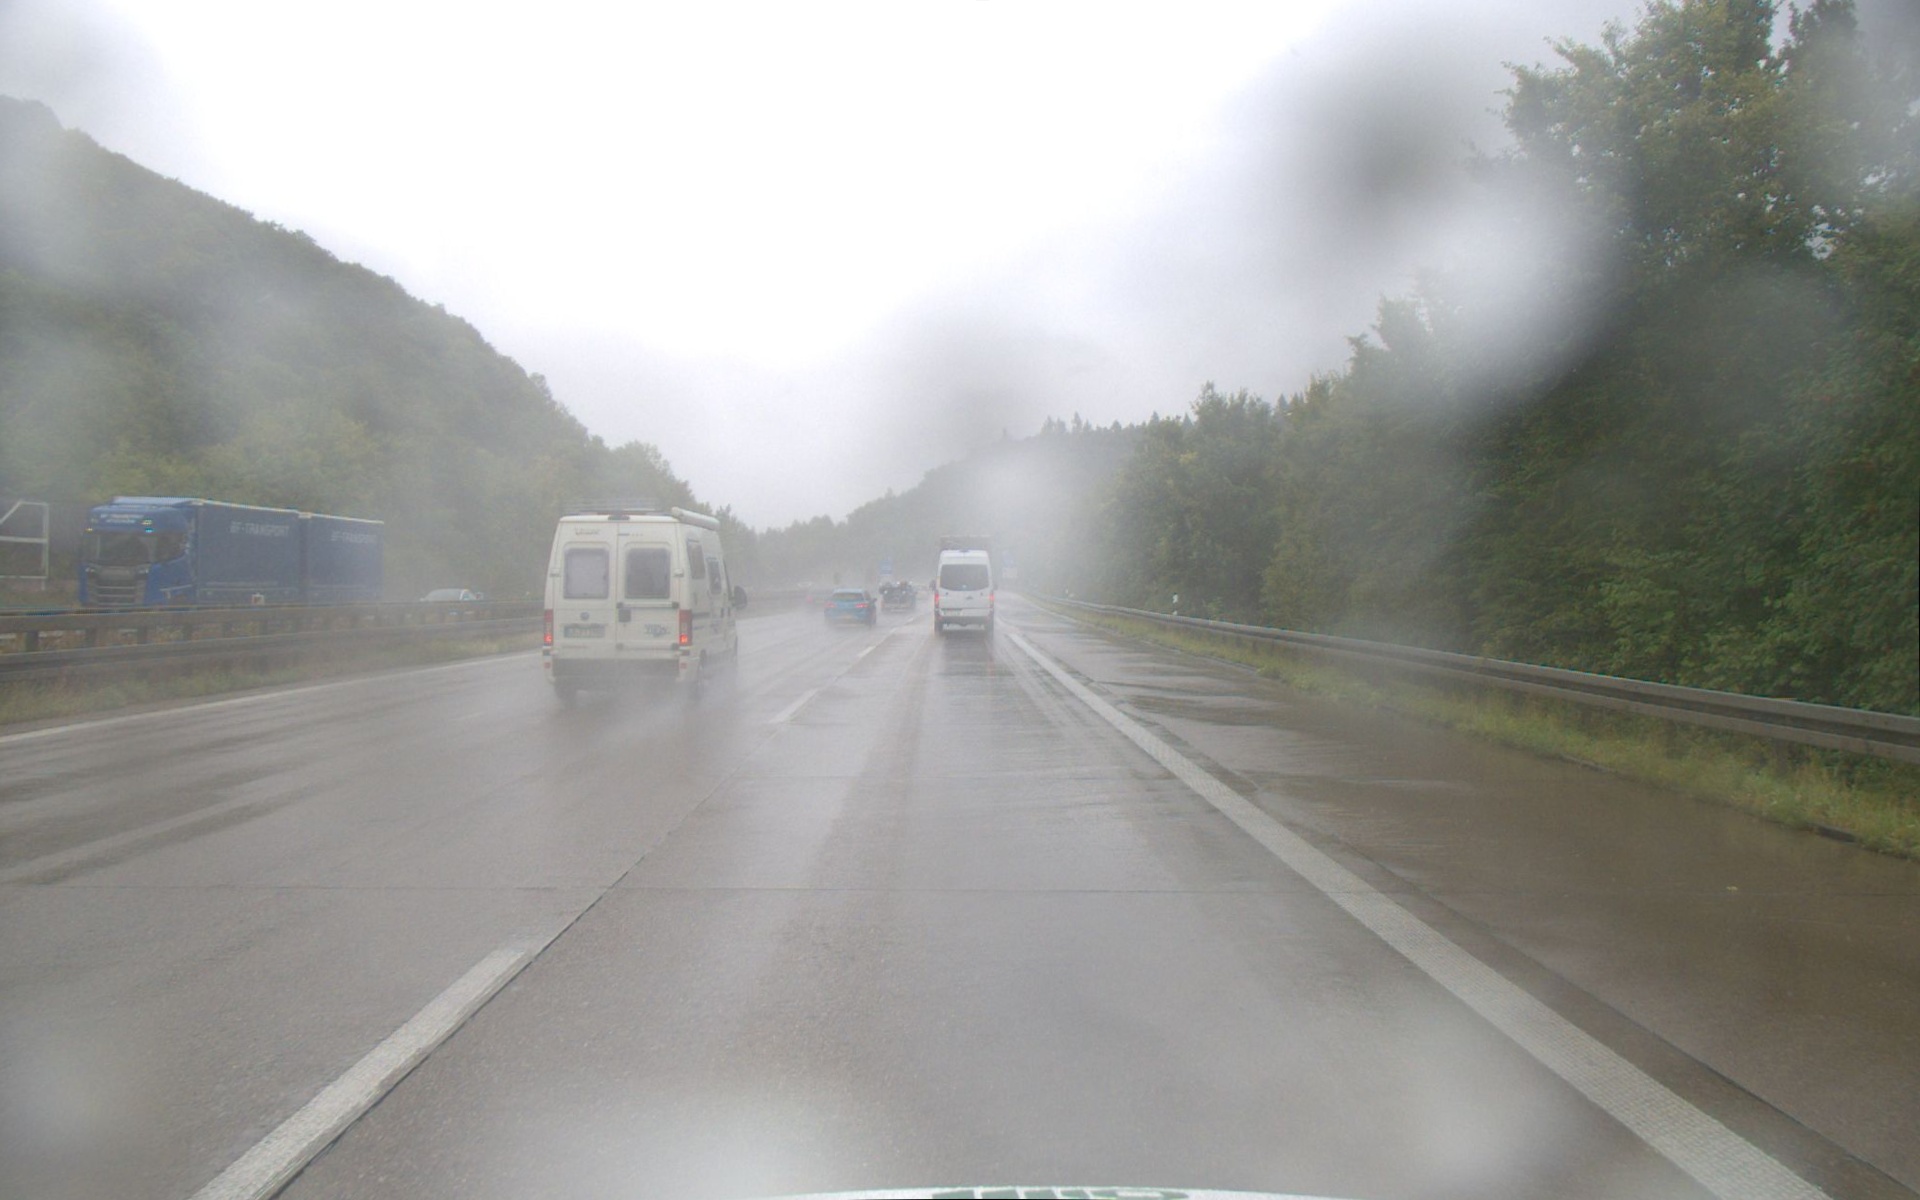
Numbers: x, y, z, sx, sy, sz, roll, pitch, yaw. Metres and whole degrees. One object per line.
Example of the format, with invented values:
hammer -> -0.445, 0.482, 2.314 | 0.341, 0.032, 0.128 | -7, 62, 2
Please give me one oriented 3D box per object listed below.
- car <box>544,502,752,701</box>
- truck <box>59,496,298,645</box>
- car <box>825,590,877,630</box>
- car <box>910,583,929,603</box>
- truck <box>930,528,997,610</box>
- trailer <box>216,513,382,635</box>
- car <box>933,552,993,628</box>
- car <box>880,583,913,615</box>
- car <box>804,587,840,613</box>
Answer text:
car -> -4.300, -0.012, 23.738 | 1.957, 2.474, 5.789 | 1, 0, -1
truck -> -24.424, -0.890, 52.458 | 2.790, 4.227, 10.177 | 1, 0, -1
car -> -3.972, 0.332, 60.902 | 1.819, 1.362, 4.349 | 1, 1, -3
car -> -3.478, -0.609, 143.510 | 1.581, 1.656, 4.188 | 1, 0, -1
truck -> 0.152, -1.725, 85.829 | 3.316, 4.037, 8.667 | 0, 2, 0
trailer -> -24.492, -0.944, 61.831 | 2.790, 4.227, 8.524 | 1, 0, -1
car -> 0.044, -0.342, 54.895 | 1.861, 2.374, 5.249 | 1, 0, -1
car -> -3.731, -0.062, 97.629 | 1.831, 1.841, 4.188 | 1, 0, -1
car -> -7.555, -0.010, 90.839 | 1.819, 1.362, 4.349 | 1, 1, -3
